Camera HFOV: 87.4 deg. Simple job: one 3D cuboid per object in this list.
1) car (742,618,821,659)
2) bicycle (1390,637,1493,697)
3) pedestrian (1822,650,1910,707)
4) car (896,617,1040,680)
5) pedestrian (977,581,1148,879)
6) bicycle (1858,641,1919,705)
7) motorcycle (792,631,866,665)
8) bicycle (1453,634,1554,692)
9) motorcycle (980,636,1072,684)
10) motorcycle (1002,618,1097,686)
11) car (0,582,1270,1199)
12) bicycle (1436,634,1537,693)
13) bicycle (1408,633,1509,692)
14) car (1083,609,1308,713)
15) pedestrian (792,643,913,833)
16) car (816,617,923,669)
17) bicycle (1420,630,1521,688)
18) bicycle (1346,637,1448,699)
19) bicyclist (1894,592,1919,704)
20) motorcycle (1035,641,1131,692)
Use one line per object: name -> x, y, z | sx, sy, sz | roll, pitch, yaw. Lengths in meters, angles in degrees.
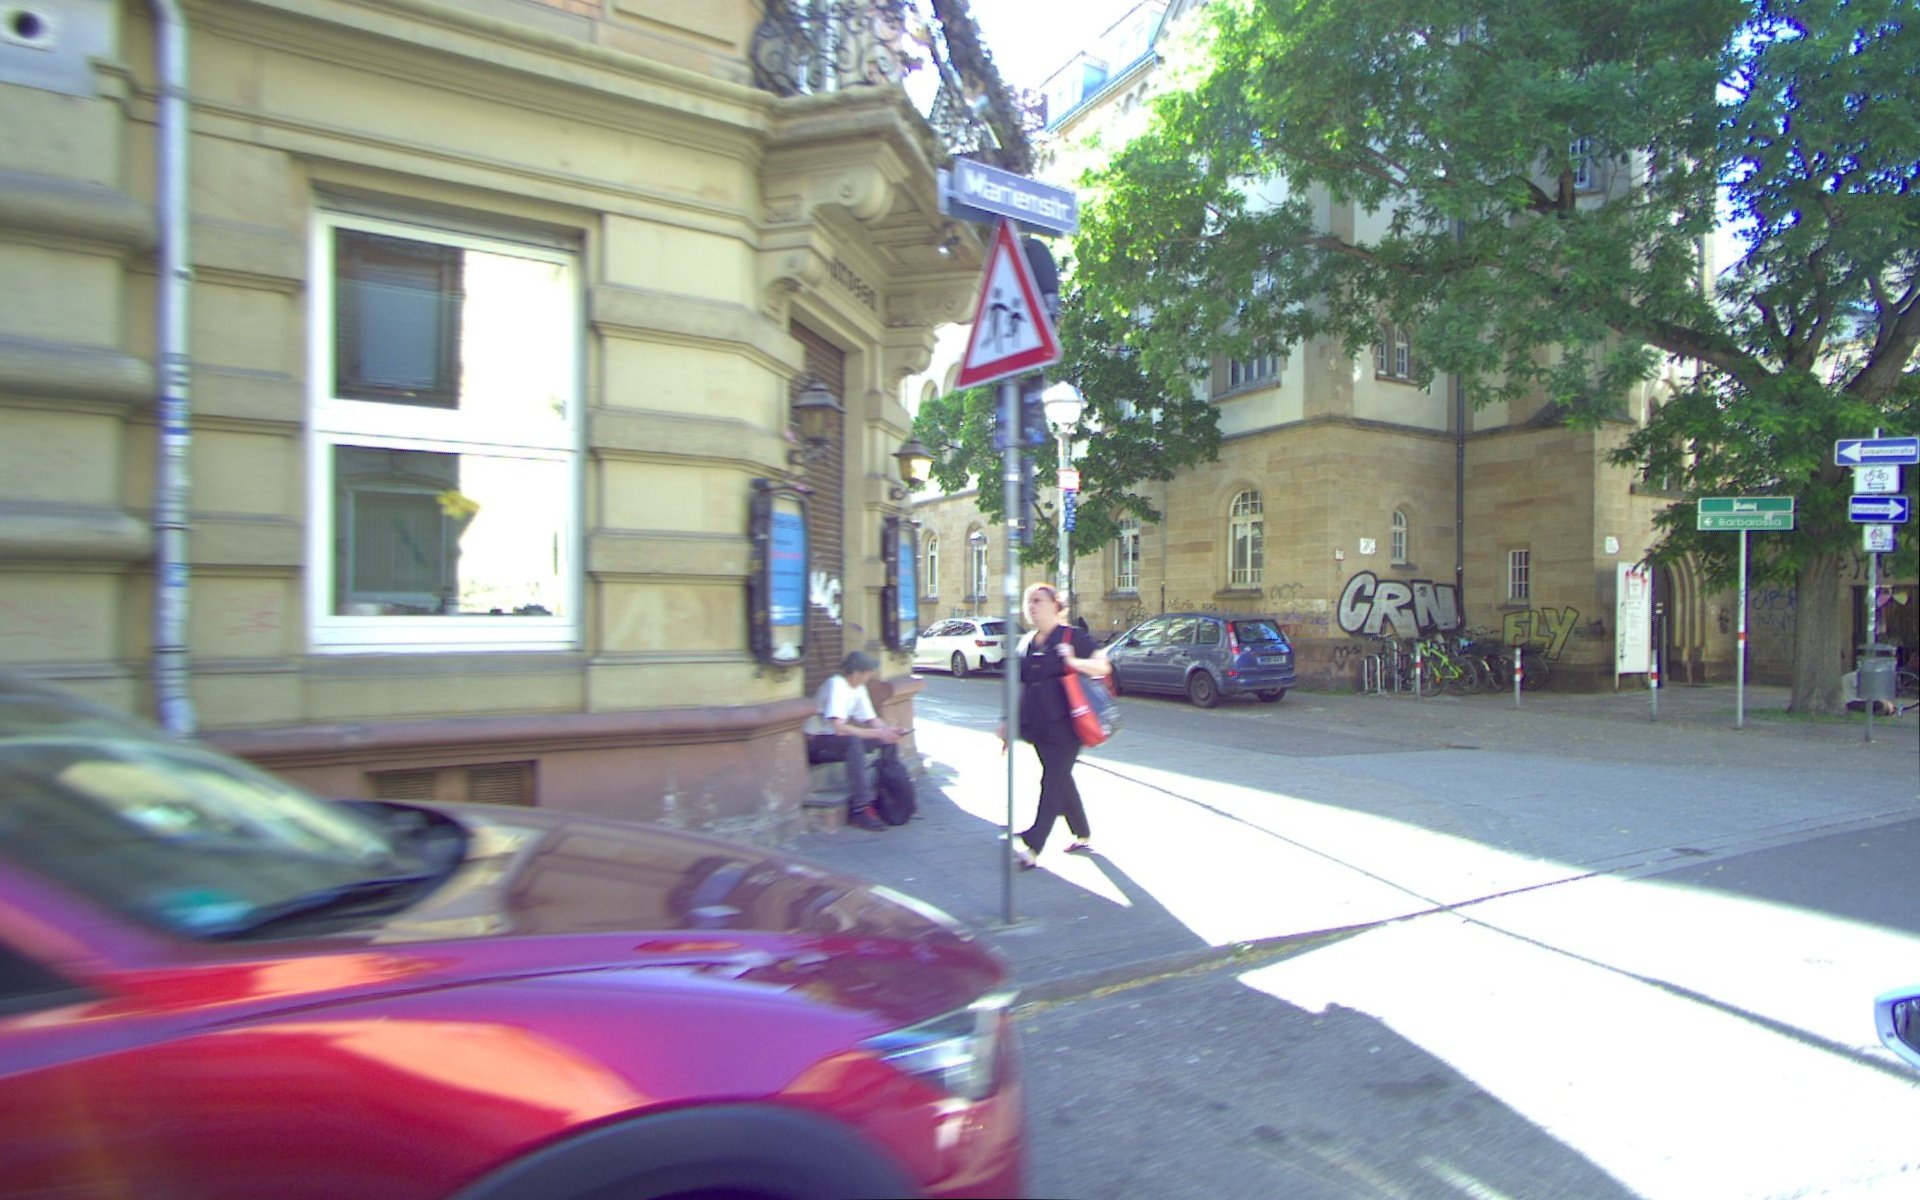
car -> -6.859, 1.425, 38.365 | 1.710, 1.439, 4.107 | 0, -1, -30
bicycle -> 9.058, 1.238, 18.969 | 0.527, 1.068, 1.768 | 0, -1, -29
pedestrian -> 13.592, 1.164, 15.096 | 0.904, 0.788, 0.700 | -1, -1, 37
car -> 0.108, 1.150, 25.327 | 1.774, 1.439, 4.245 | 0, -1, -30
pedestrian -> 0.594, 0.702, 5.878 | 0.751, 1.601, 0.663 | 0, 0, -30
bicycle -> 15.401, 1.179, 15.772 | 0.814, 0.935, 1.758 | 0, 2, -20
motorcycle -> -4.424, 1.621, 33.962 | 2.283, 1.076, 0.918 | 3, -2, -29
bicycle -> 10.755, 1.222, 19.931 | 0.472, 1.068, 1.768 | 0, -1, -29
motorcycle -> 1.504, 1.346, 22.788 | 2.079, 1.004, 0.657 | 0, -1, -30
motorcycle -> 1.968, 1.110, 21.982 | 2.079, 1.439, 0.657 | 0, -1, -30
car -> -1.662, 0.725, 1.426 | 4.039, 1.501, 1.715 | 0, 0, -29
bicycle -> 10.267, 1.215, 19.652 | 0.472, 1.068, 1.768 | 0, -1, -29
bicycle -> 9.491, 1.169, 19.186 | 0.472, 1.068, 1.768 | 0, -1, -29
car -> 4.117, 1.006, 18.189 | 1.748, 1.619, 3.970 | -2, 0, -29
pedestrian -> -0.709, 0.906, 6.812 | 0.733, 1.193, 0.669 | 0, 0, 1
car -> -2.876, 1.281, 31.031 | 1.710, 1.480, 4.245 | 0, -1, -30
bicycle -> 9.824, 1.112, 19.384 | 0.472, 1.068, 1.768 | 0, -1, -29
bicycle -> 8.023, 1.224, 18.516 | 0.527, 1.068, 1.768 | 0, -1, -29
bicyclist -> 15.397, 0.759, 15.776 | 0.681, 1.746, 0.803 | 0, 2, -20
motorcycle -> 2.589, 1.368, 20.959 | 2.079, 0.988, 0.566 | 0, -1, -30
